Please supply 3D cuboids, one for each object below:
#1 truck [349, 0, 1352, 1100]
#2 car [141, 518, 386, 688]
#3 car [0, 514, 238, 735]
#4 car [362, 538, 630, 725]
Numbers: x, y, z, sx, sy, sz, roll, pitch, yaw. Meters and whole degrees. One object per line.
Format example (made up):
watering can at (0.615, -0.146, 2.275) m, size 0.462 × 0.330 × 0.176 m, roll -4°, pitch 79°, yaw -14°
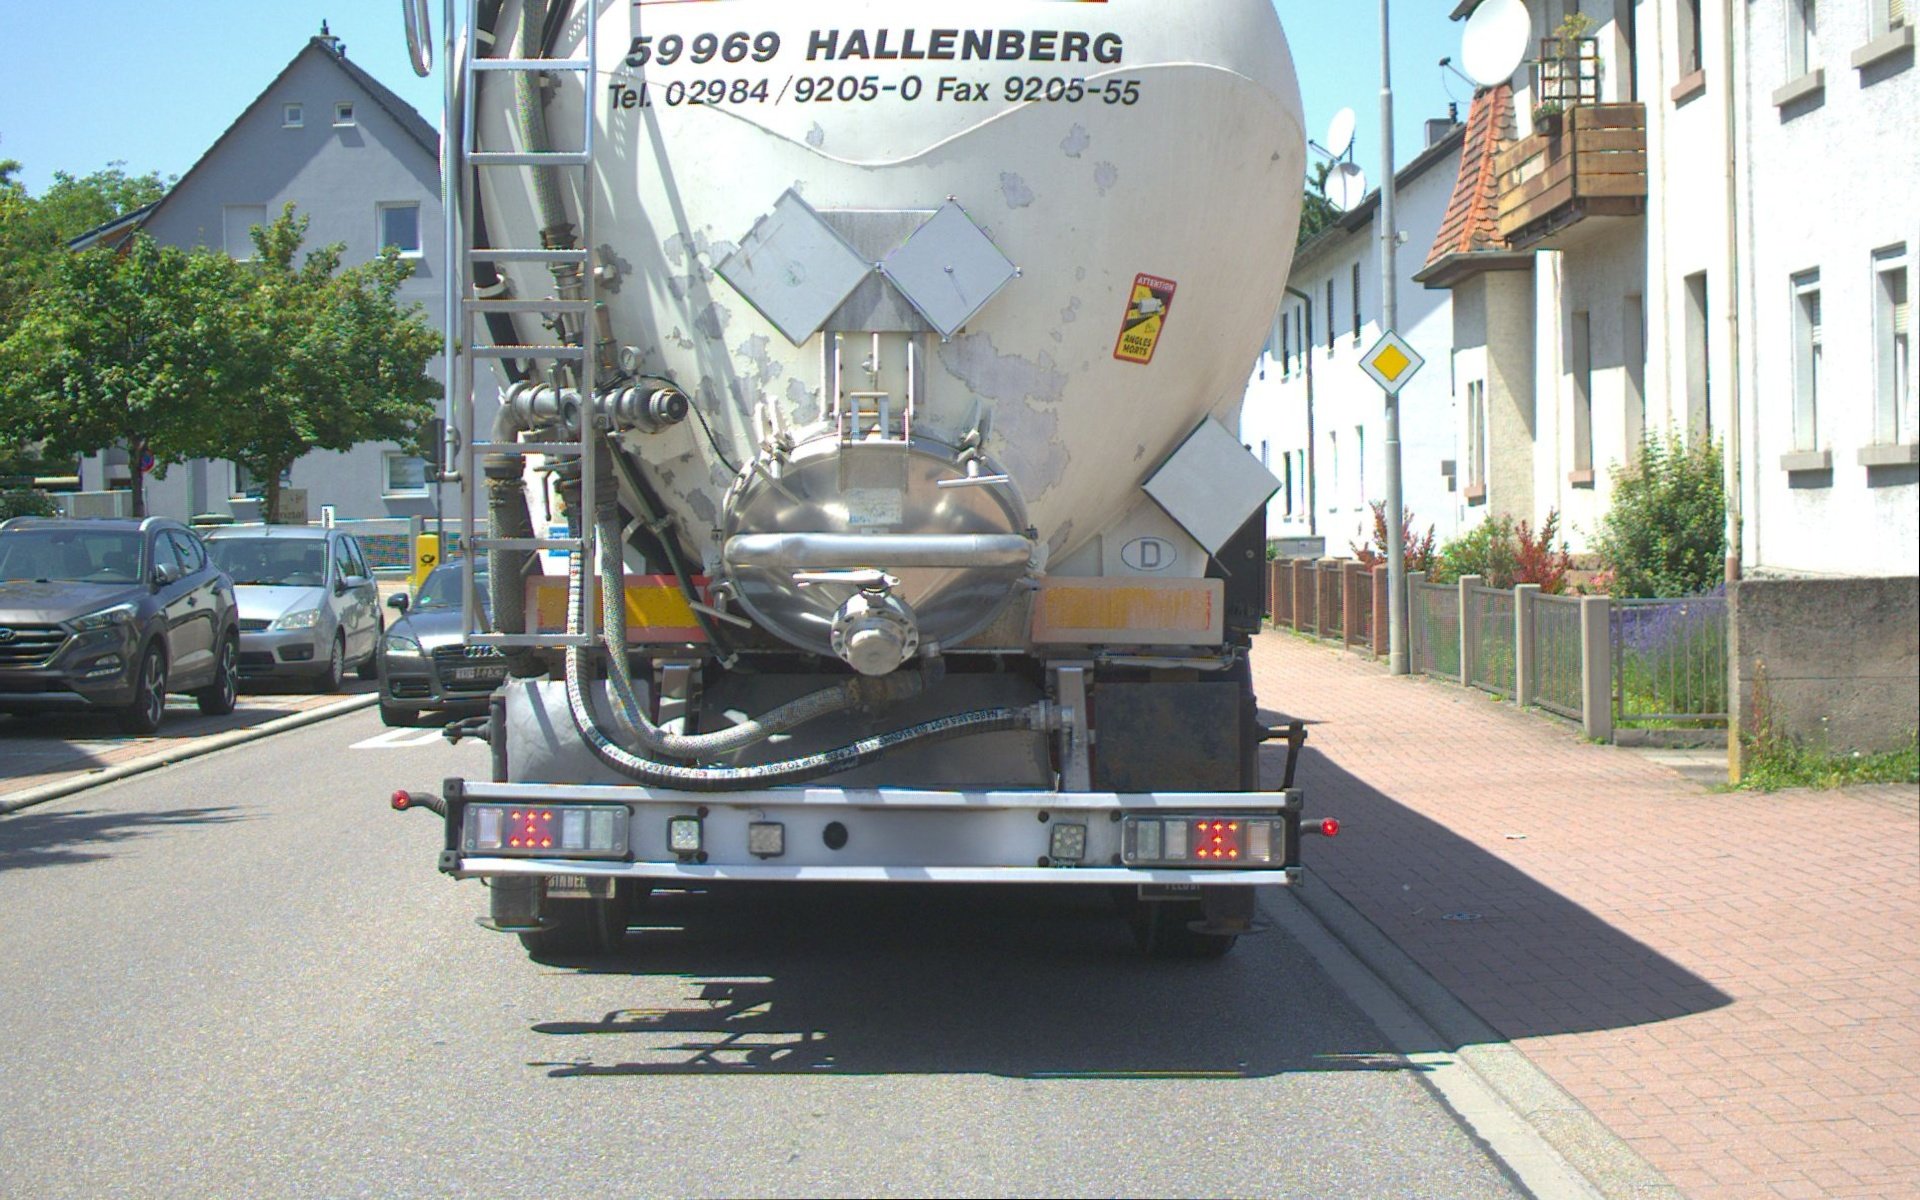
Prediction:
truck at (-0.431, -0.800, 13.884) m, size 2.641 × 4.002 × 9.562 m, roll 0°, pitch 1°, yaw -2°
car at (-6.798, -0.016, 33.887) m, size 1.697 × 1.575 × 3.838 m, roll 0°, pitch 1°, yaw -1°
car at (-6.967, 0.132, 27.117) m, size 1.691 × 1.614 × 3.998 m, roll 0°, pitch 1°, yaw 0°
car at (-3.848, 0.214, 29.051) m, size 1.706 × 1.365 × 3.869 m, roll -3°, pitch 1°, yaw 0°
